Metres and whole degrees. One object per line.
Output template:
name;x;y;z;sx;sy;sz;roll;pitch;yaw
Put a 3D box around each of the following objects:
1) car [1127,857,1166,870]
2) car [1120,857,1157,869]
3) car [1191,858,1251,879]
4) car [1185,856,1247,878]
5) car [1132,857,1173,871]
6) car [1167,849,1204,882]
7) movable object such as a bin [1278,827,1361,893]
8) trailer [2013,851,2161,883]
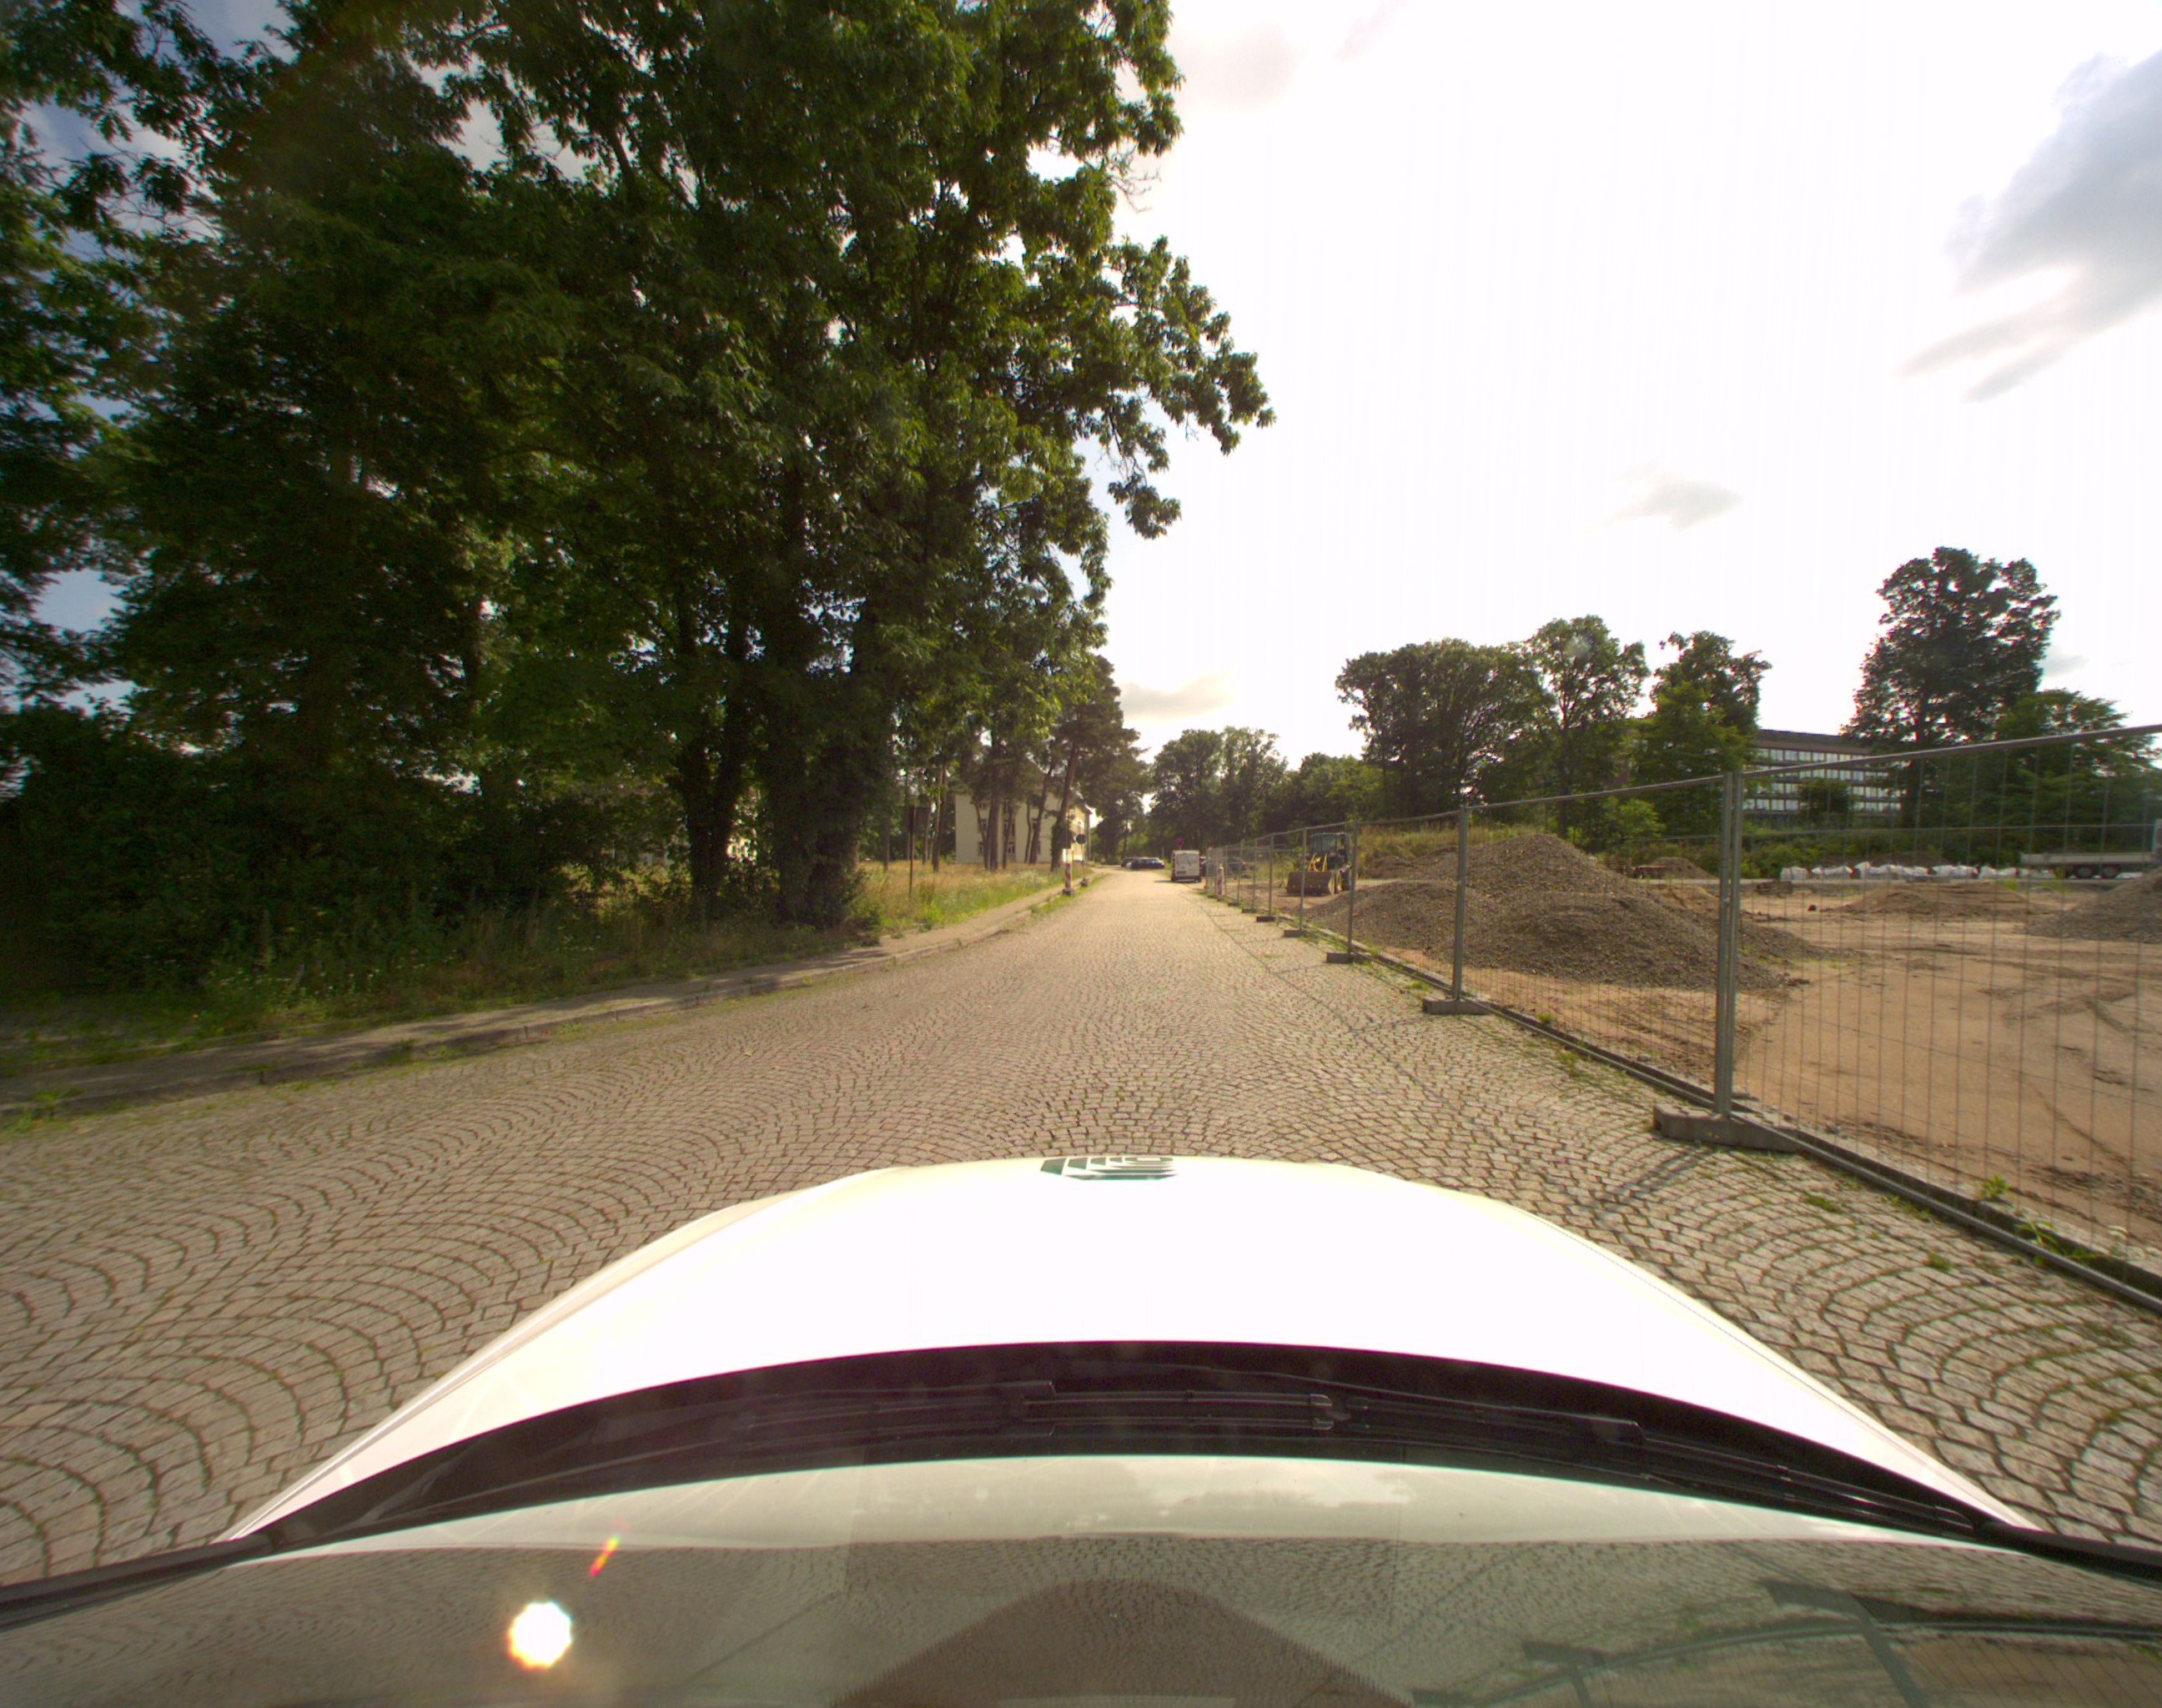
car;8.224;1.229;102.687;4.768;1.641;1.998;0;-1;-3
car;7.732;1.249;110.232;4.768;1.641;1.998;0;-1;-3
car;10.586;1.079;61.510;4.374;1.510;2.006;0;0;11
car;9.784;0.918;58.815;4.374;1.510;2.006;0;0;11
car;8.692;1.219;99.508;4.768;1.641;1.998;0;-1;-3
car;6.724;0.718;52.829;1.986;2.014;4.093;0;0;2
movable object such as a bin;10.193;0.246;34.520;2.108;2.593;4.821;-1;0;32
trailer;44.302;0.555;35.775;3.949;1.354;2.101;-1;-1;28
